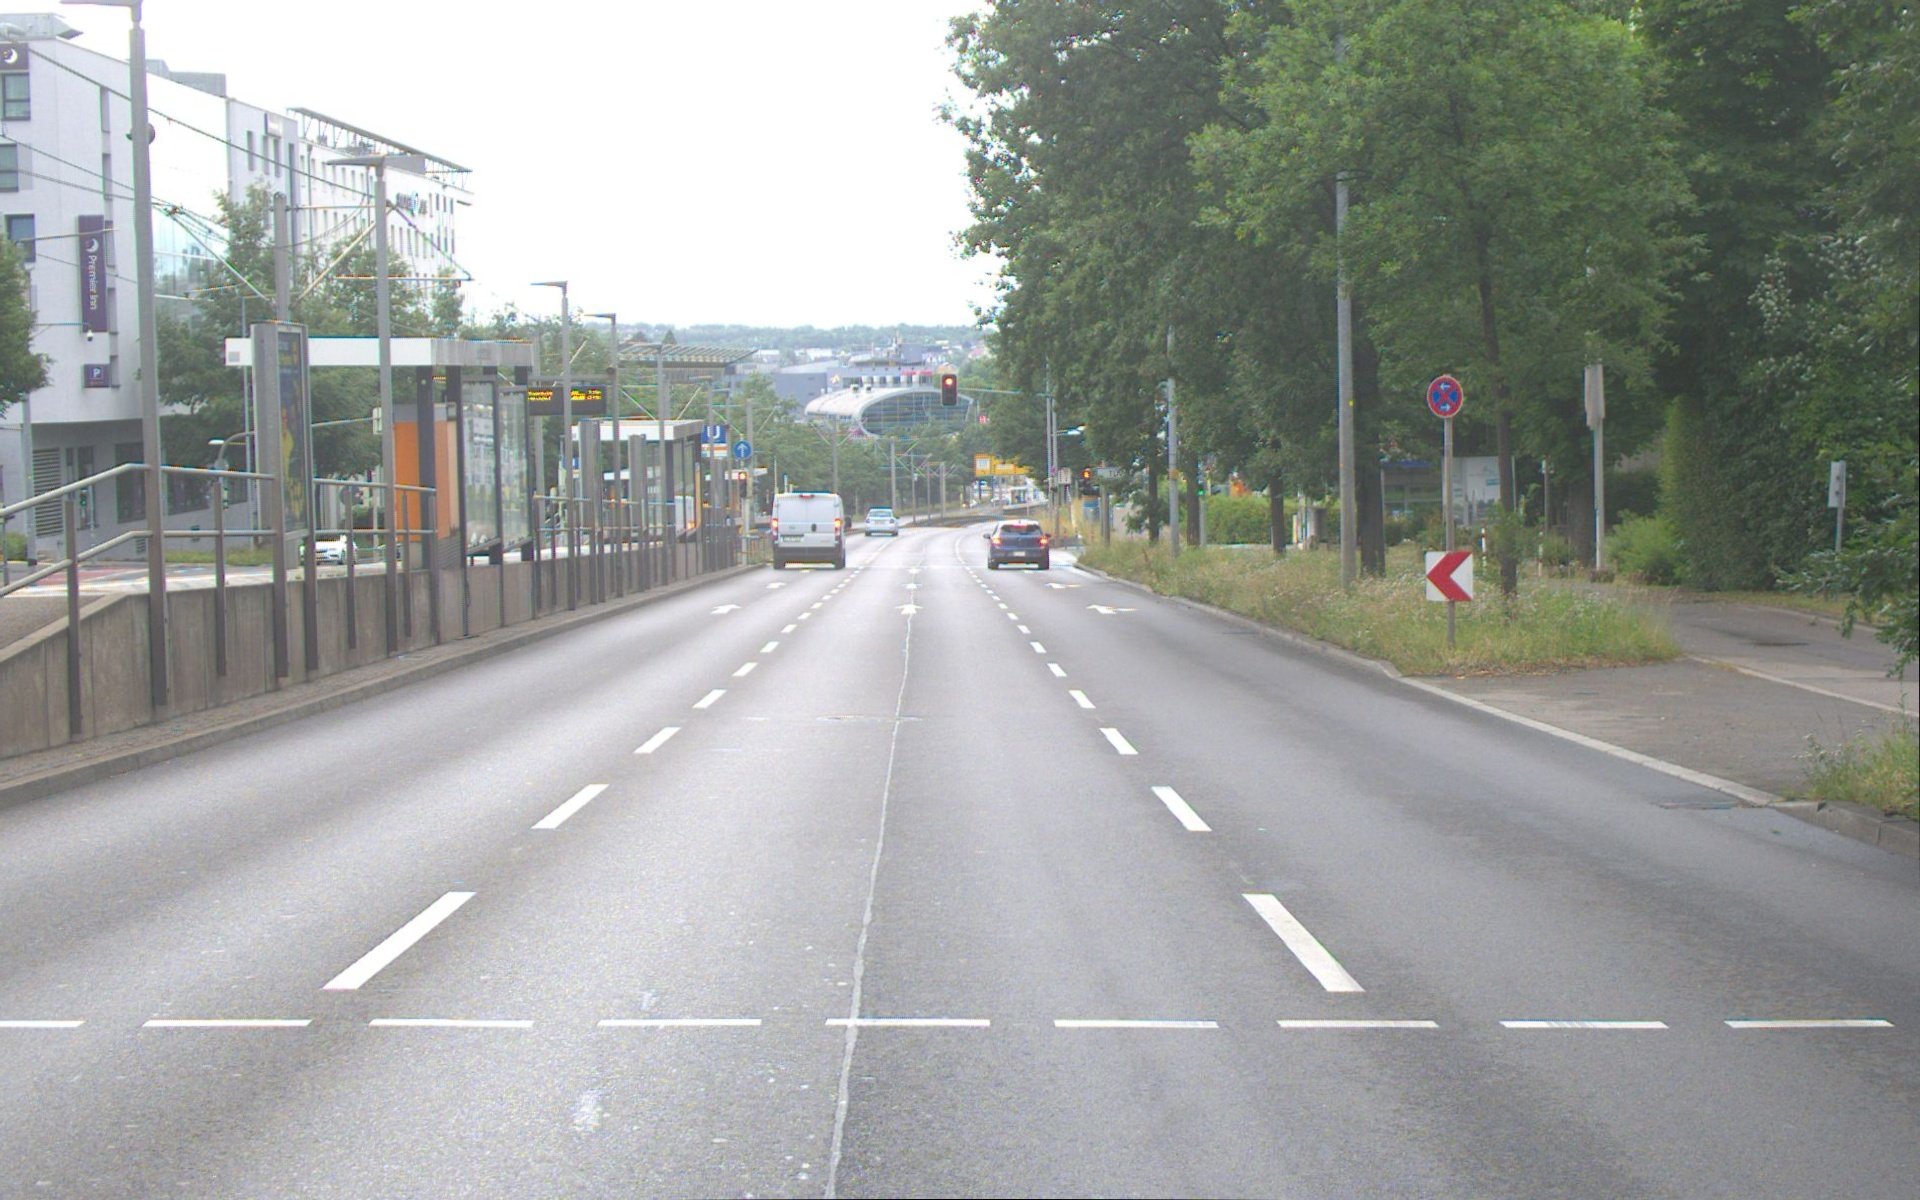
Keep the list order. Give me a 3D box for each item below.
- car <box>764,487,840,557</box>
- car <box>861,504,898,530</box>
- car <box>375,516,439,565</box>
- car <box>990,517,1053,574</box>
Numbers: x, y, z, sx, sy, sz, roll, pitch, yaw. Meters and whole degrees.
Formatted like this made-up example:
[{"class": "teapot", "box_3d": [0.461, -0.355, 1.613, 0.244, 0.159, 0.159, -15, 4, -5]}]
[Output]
[{"class": "car", "box_3d": [-4.686, -2.333, 102.451, 2.093, 2.046, 4.607, 0, 1, -1]}, {"class": "car", "box_3d": [-4.348, -4.510, 186.007, 1.783, 1.385, 4.000, 0, 1, 1]}, {"class": "car", "box_3d": [-17.448, -1.863, 108.366, 1.650, 1.431, 3.881, -3, 1, -13]}, {"class": "car", "box_3d": [1.827, -1.644, 102.782, 1.774, 1.685, 3.846, 0, 1, -1]}]
